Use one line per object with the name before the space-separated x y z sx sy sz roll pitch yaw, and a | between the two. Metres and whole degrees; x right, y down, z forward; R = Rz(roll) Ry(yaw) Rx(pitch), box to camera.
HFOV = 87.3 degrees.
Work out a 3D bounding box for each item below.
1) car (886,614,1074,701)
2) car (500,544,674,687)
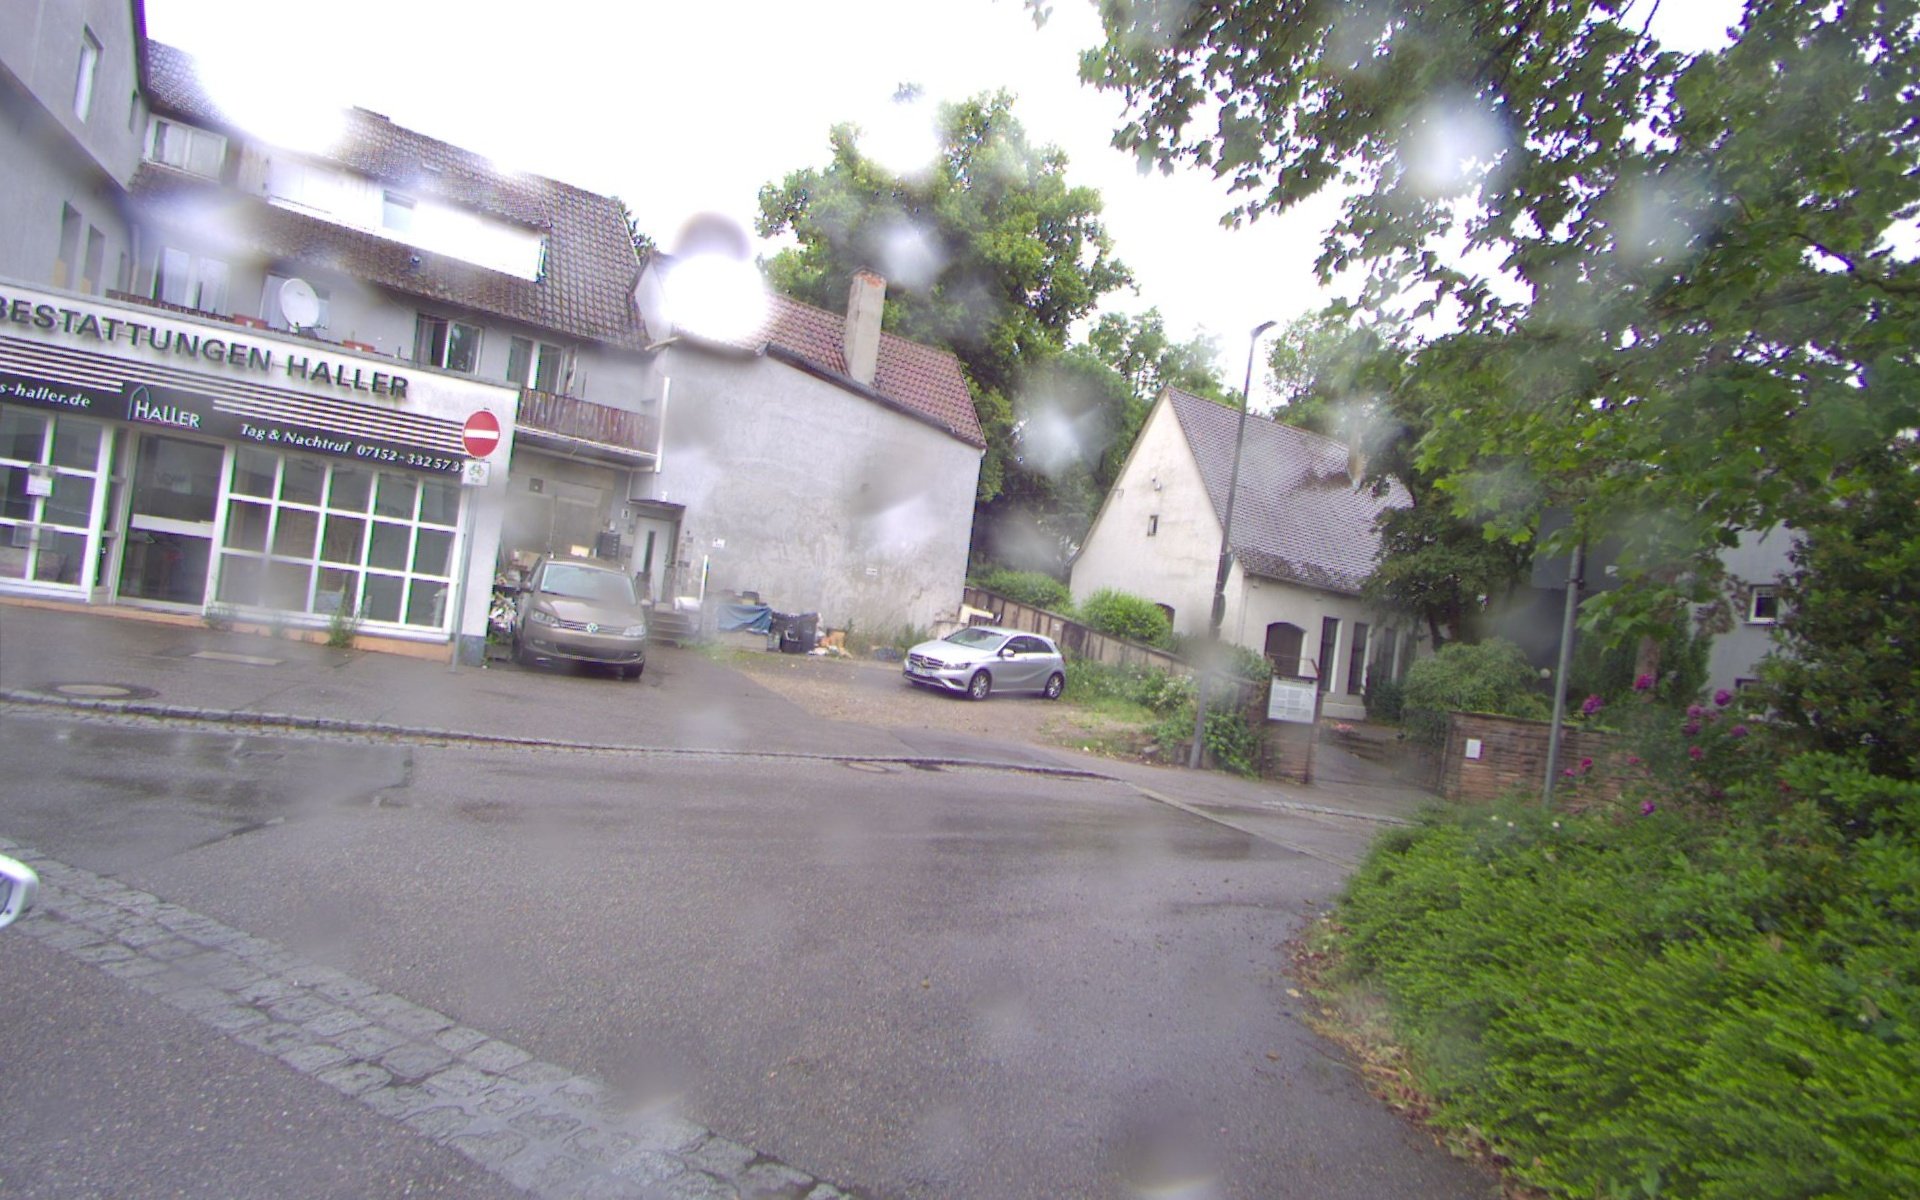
car | 0.518 1.266 21.385 1.717 1.406 4.022 11 2 40
car | -6.275 0.140 16.554 1.908 1.749 4.633 8 0 -28
